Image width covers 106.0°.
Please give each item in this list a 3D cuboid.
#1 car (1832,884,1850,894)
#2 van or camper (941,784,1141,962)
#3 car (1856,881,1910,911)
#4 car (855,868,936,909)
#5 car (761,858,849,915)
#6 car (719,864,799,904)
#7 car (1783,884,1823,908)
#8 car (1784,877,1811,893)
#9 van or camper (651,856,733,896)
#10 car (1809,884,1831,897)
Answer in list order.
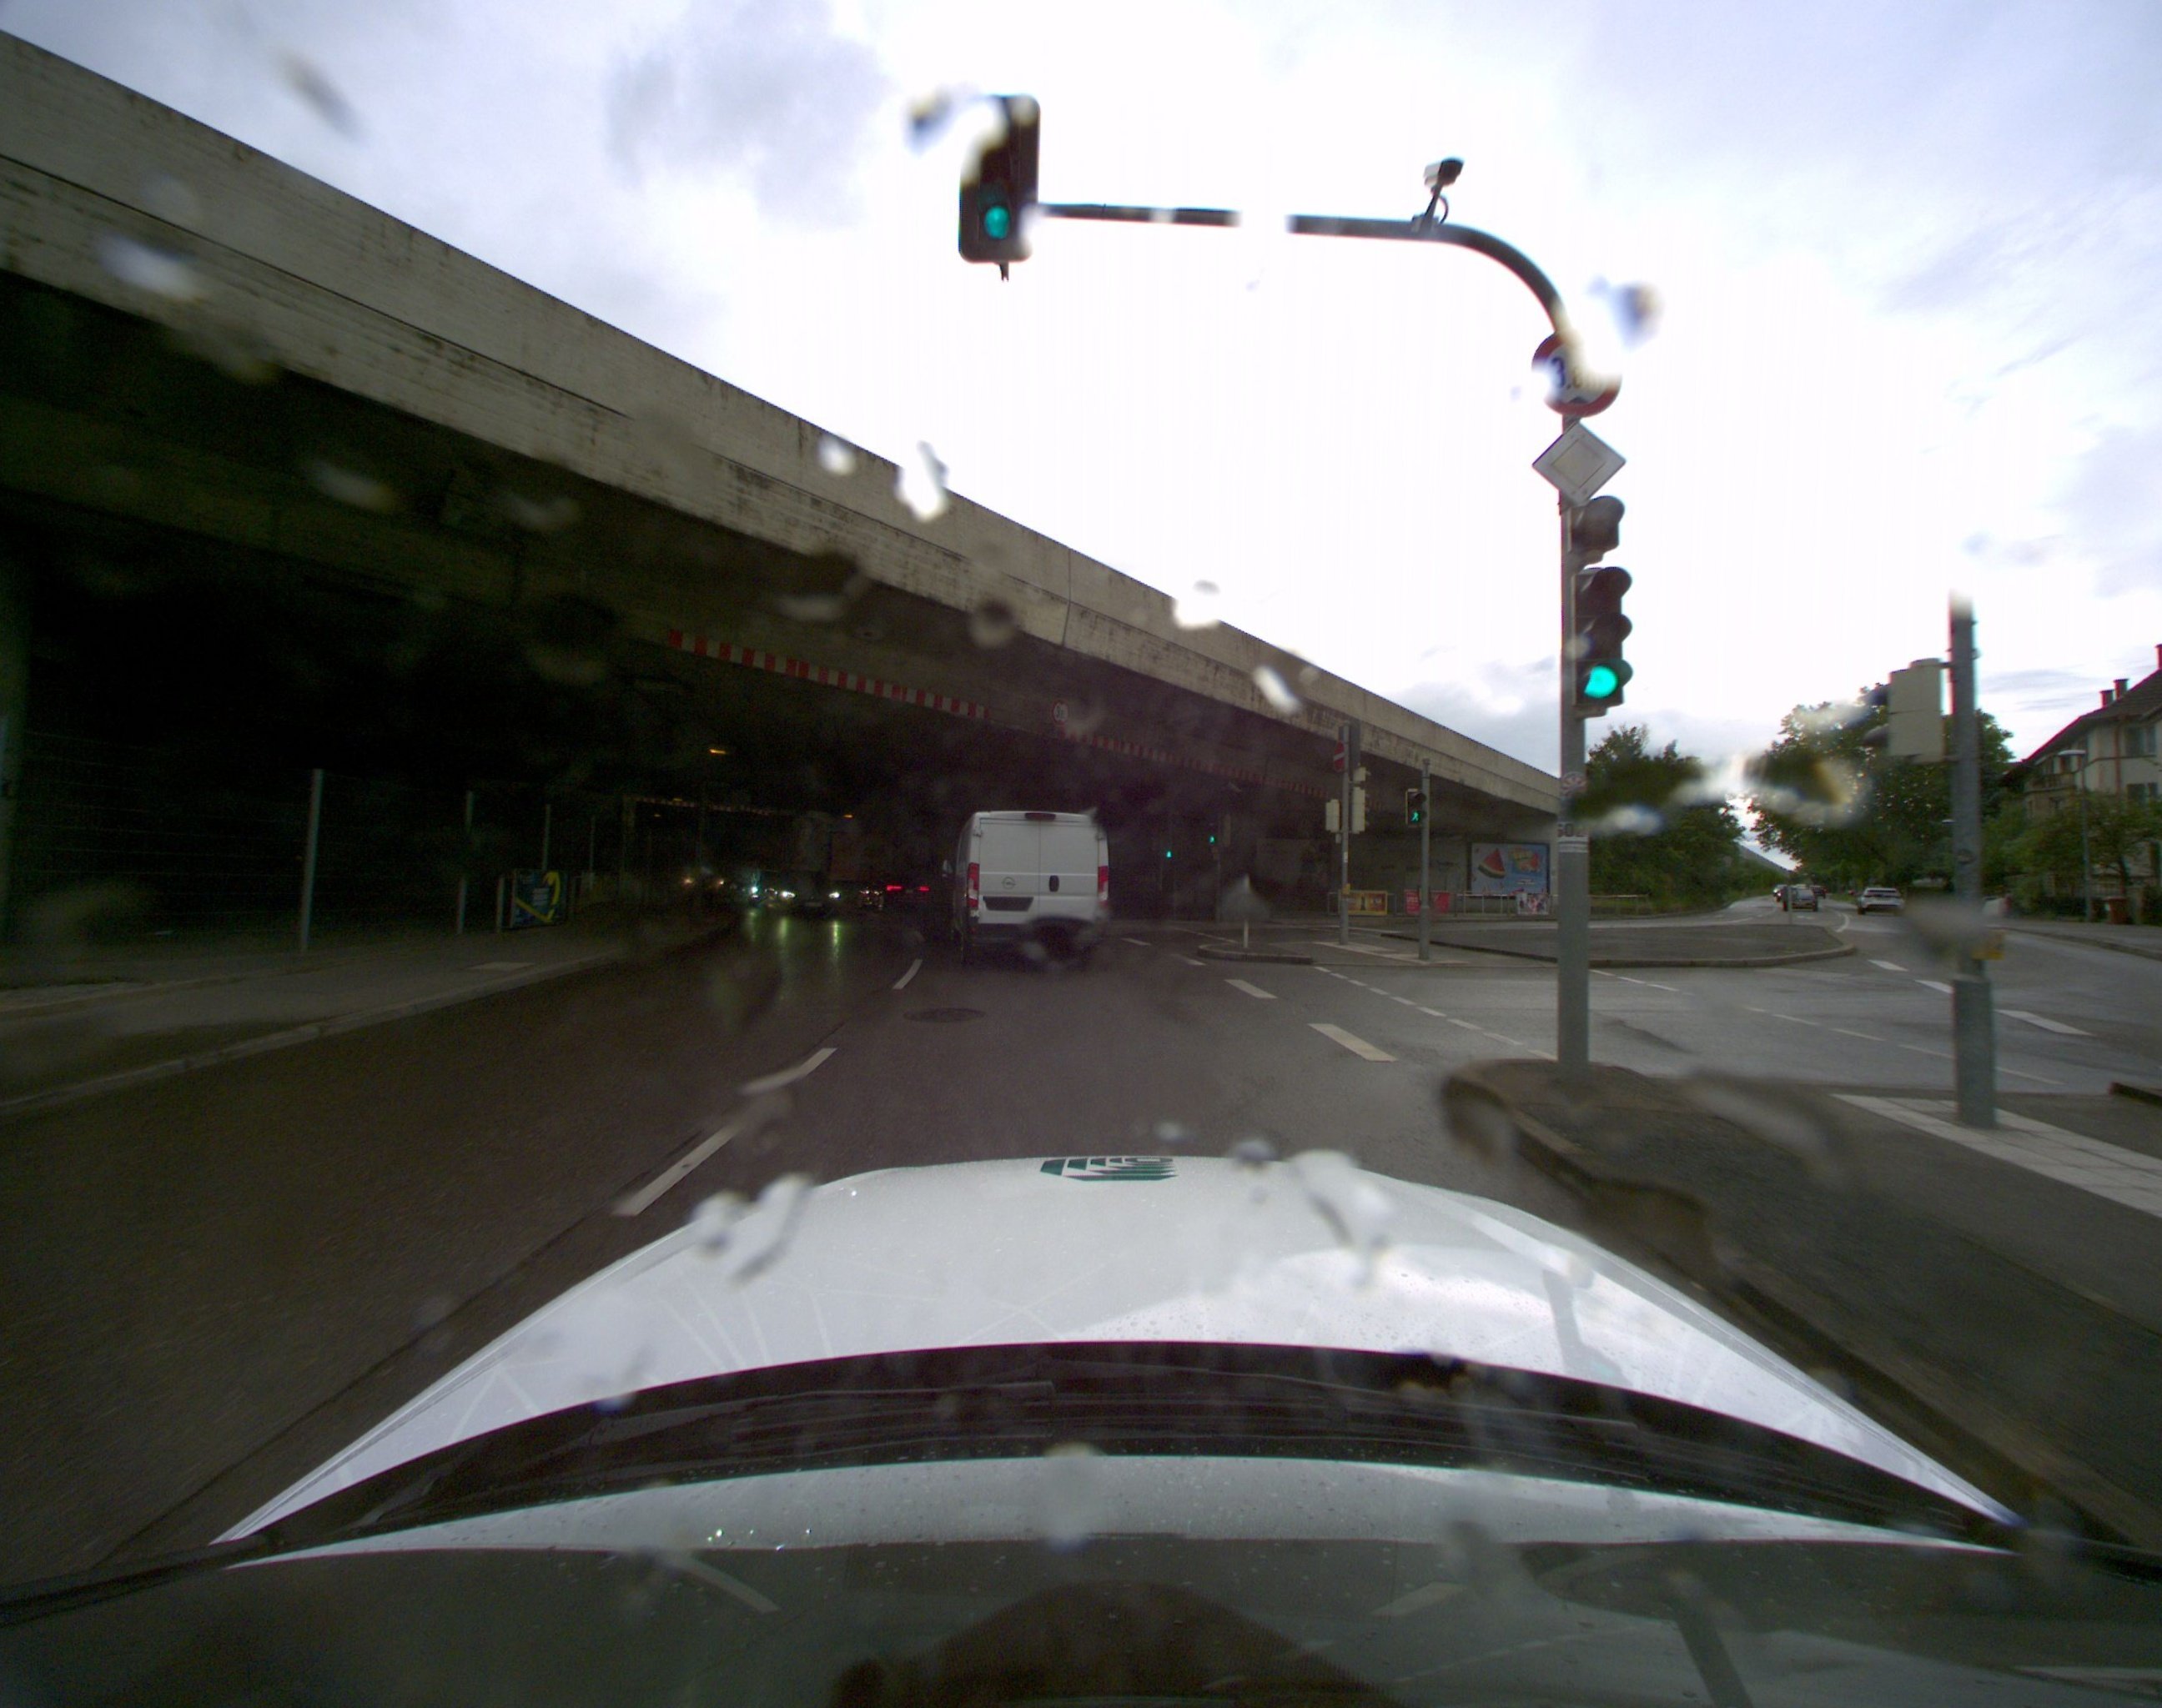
[{"bbox_3d":[125.368,5.794,134.294,1.857,1.530,4.025,1,0,39],"label":"car"},{"bbox_3d":[-0.934,0.272,13.698,2.699,2.416,4.886,2,0,-10],"label":"van or camper"},{"bbox_3d":[45.048,2.328,45.821,1.858,1.530,4.024,2,0,41],"label":"car"},{"bbox_3d":[-7.090,1.264,30.881,1.847,1.438,4.063,2,-2,-30],"label":"car"},{"bbox_3d":[-8.946,0.979,26.121,2.004,1.530,4.461,2,0,-27],"label":"car"},{"bbox_3d":[-12.597,1.149,31.744,2.008,1.465,4.061,2,-2,-34],"label":"car"},{"bbox_3d":[48.211,2.794,54.352,1.747,1.580,4.258,-3,-4,45],"label":"car"},{"bbox_3d":[73.507,3.173,83.533,1.857,1.530,4.025,1,0,39],"label":"car"},{"bbox_3d":[-19.425,1.091,40.537,5.074,1.868,2.011,-1,-3,44],"label":"van or camper"},{"bbox_3d":[96.000,4.699,105.843,1.857,1.530,4.025,1,0,39],"label":"car"}]
